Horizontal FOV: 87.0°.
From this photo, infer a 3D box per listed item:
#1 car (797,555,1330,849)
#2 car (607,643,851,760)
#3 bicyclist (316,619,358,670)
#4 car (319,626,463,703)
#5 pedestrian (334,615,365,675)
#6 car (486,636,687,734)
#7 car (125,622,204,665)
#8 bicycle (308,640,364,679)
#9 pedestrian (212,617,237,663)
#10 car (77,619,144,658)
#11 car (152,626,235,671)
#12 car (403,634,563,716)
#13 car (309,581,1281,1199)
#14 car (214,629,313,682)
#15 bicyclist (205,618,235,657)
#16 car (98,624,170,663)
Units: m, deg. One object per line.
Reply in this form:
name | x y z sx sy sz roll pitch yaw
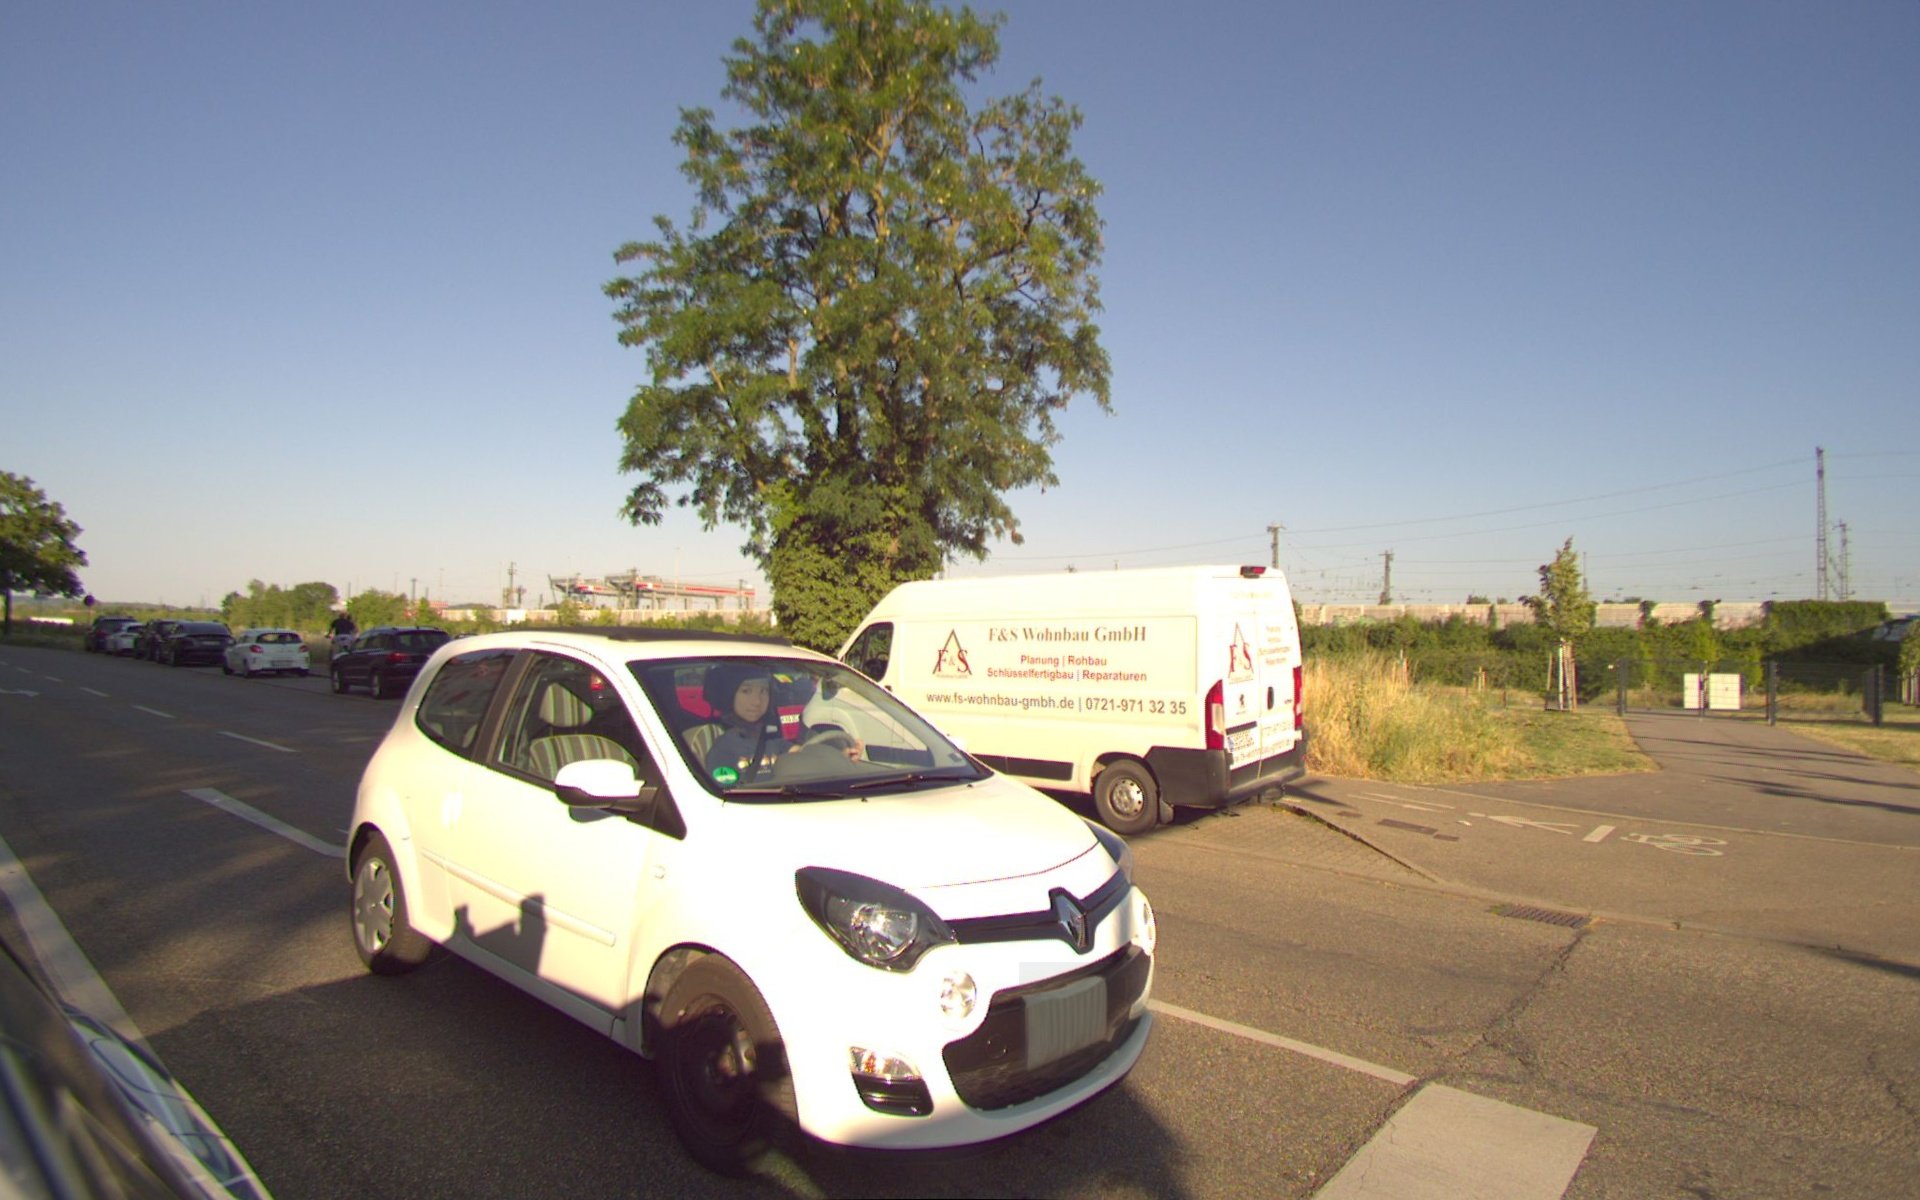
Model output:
car | 0.898 0.889 11.113 5.556 2.455 2.207 -1 -1 40
car | -3.579 1.463 15.427 3.692 1.498 1.723 -1 -4 40
bicyclist | -20.527 1.464 33.342 1.146 1.609 0.854 -1 -4 43
car | -13.625 1.502 24.148 4.003 1.672 1.642 -1 -4 40
pedestrian | -21.122 1.551 35.006 0.729 2.029 0.608 -1 -4 39
car | -6.828 1.480 18.349 3.814 1.541 1.723 -1 -4 40
car | -32.409 1.766 41.185 4.219 1.650 1.799 -1 -4 43
bicycle | -20.546 1.940 33.315 2.483 1.198 0.927 -1 -4 44
pedestrian | -33.640 1.828 46.263 0.710 2.029 0.697 -1 -4 42
car | -40.865 1.838 48.644 4.219 1.789 1.866 -1 -4 43
car | -28.261 1.774 37.263 1.798 1.538 4.292 5 -4 -45
car | -10.043 1.528 21.229 3.577 1.541 1.642 -1 -4 40
car | -0.900 0.771 3.973 3.772 1.480 1.683 -1 -4 40
car | -21.586 1.698 31.326 3.582 1.538 1.684 -1 -4 42
bicyclist | -31.266 1.584 42.768 1.146 1.609 0.758 -1 -4 43
car | -36.495 1.900 44.696 4.219 1.586 1.799 -1 -4 43
